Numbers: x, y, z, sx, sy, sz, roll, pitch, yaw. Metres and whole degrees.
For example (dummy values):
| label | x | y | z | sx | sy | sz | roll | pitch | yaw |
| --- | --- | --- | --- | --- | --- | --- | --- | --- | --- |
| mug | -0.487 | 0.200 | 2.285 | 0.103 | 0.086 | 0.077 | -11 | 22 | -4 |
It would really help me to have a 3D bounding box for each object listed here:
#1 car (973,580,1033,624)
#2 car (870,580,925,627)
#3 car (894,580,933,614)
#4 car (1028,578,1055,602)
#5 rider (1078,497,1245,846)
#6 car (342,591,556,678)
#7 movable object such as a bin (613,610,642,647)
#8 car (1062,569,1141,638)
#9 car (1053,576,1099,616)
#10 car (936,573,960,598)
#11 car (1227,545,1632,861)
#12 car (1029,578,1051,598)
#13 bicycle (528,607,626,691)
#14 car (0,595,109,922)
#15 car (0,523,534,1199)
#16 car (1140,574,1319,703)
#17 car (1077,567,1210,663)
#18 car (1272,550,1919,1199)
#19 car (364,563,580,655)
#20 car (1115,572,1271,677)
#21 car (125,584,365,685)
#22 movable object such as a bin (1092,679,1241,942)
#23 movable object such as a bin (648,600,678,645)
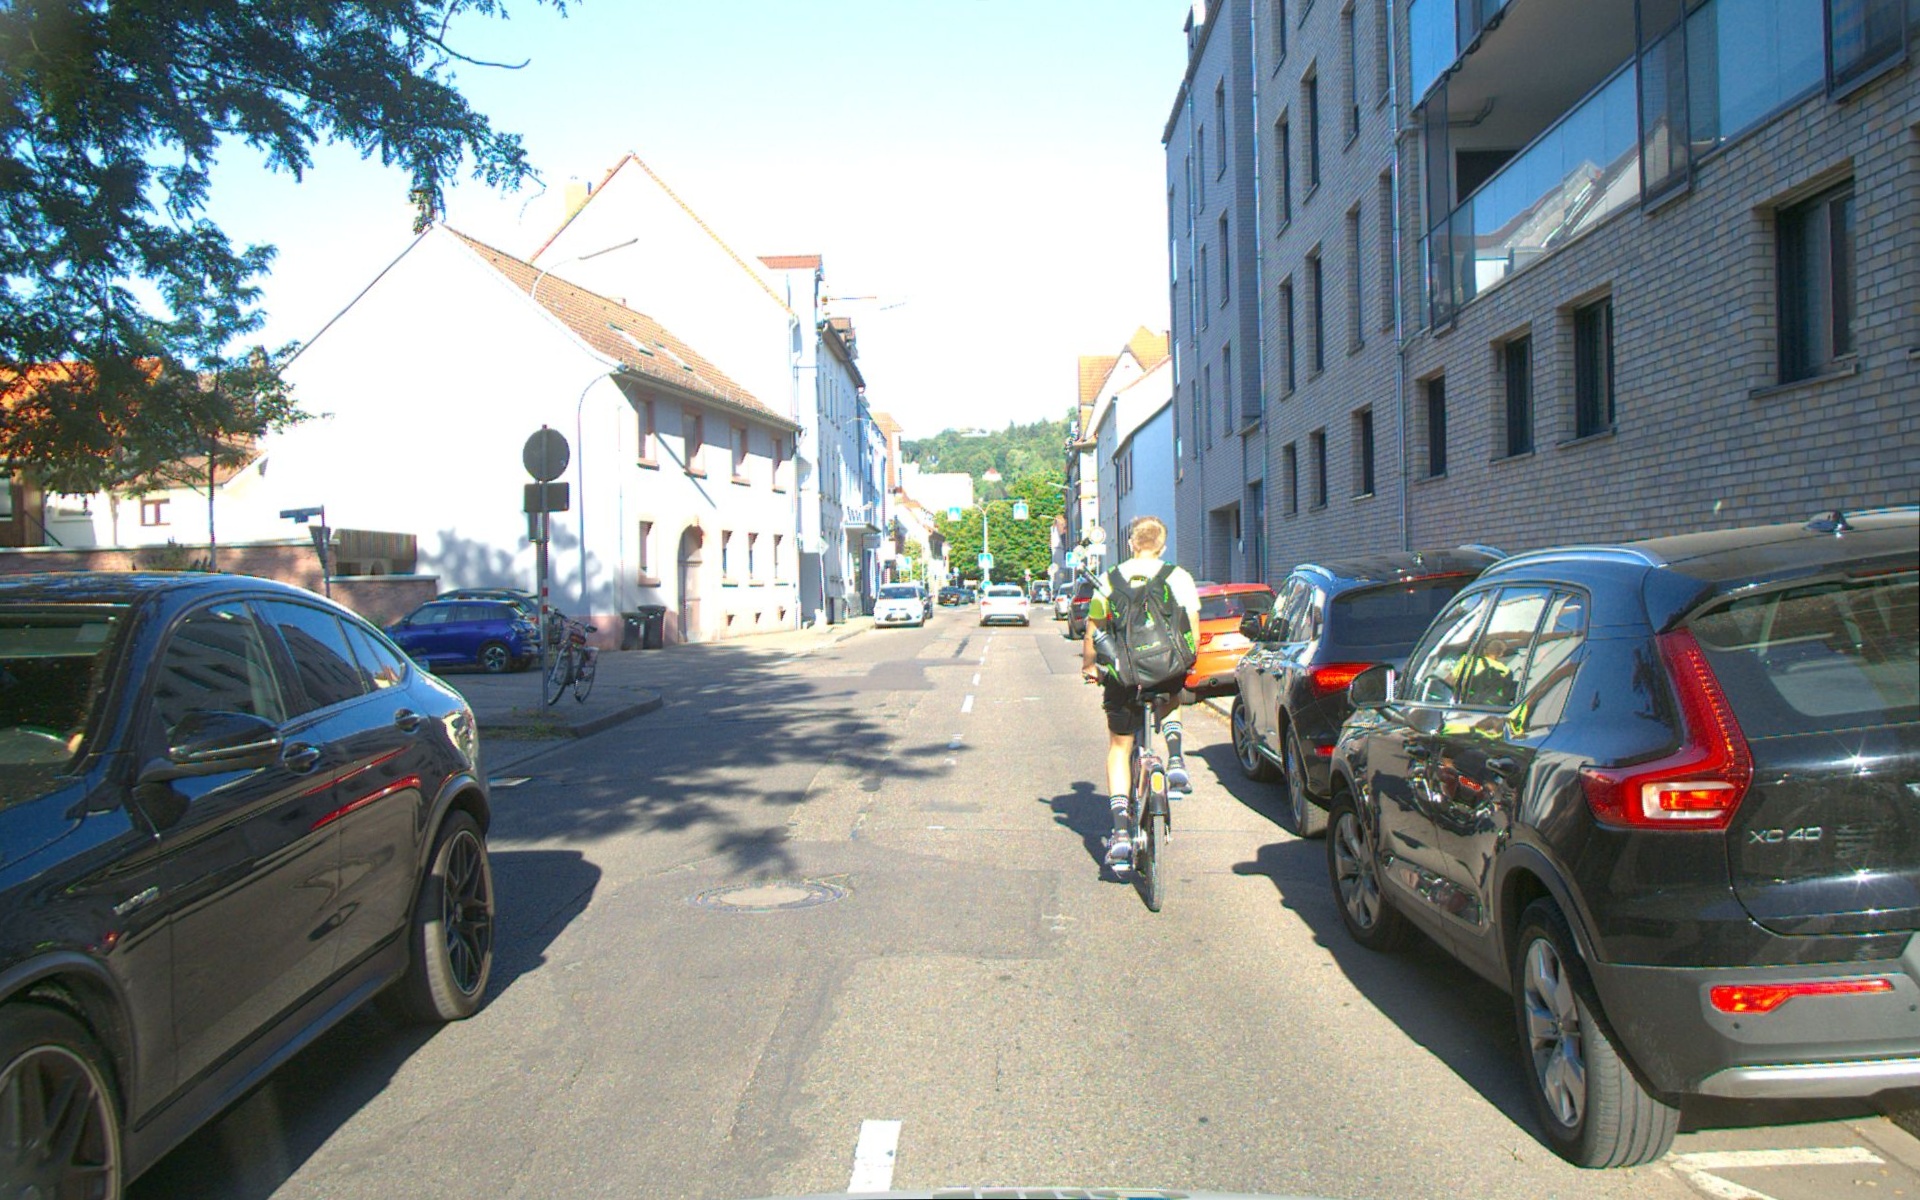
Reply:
| label | x | y | z | sx | sy | sz | roll | pitch | yaw |
| --- | --- | --- | --- | --- | --- | --- | --- | --- | --- |
| car | 1.501 | 0.057 | 58.919 | 1.953 | 1.492 | 3.999 | -2 | 0 | -1 |
| car | -2.331 | 0.077 | 62.636 | 1.953 | 1.676 | 5.220 | -1 | 1 | -1 |
| car | -2.204 | -0.148 | 79.182 | 1.695 | 1.525 | 3.959 | -2 | 0 | 0 |
| car | 6.541 | -0.855 | 133.370 | 1.969 | 1.885 | 4.001 | 0 | 1 | 0 |
| rider | 0.967 | 0.335 | 8.146 | 0.640 | 1.589 | 1.083 | 2 | -1 | -1 |
| car | -10.470 | 0.686 | 34.067 | 3.689 | 1.556 | 2.001 | -2 | 1 | 2 |
| movable object such as a bin | -8.127 | 0.700 | 40.452 | 0.586 | 0.887 | 0.606 | -1 | 0 | -1 |
| car | 3.805 | 0.045 | 45.231 | 1.816 | 1.664 | 4.624 | -4 | 1 | 2 |
| car | 4.779 | -0.199 | 68.611 | 1.705 | 1.518 | 4.440 | -3 | 0 | 2 |
| car | -0.989 | -1.267 | 139.116 | 1.953 | 2.049 | 4.000 | -1 | 1 | 0 |
| car | 3.003 | 0.530 | 11.628 | 1.850 | 1.742 | 4.777 | -1 | 1 | 5 |
| car | 6.992 | -1.070 | 144.730 | 1.780 | 1.659 | 4.003 | -2 | 1 | 4 |
| bicycle | -4.951 | 0.611 | 21.496 | 0.689 | 1.020 | 1.942 | 0 | 0 | 4 |
| car | -5.295 | 0.759 | 6.677 | 1.662 | 1.518 | 3.999 | -1 | 0 | -1 |
| car | -2.619 | 0.686 | 4.422 | 1.900 | 1.603 | 4.318 | -2 | 0 | -2 |
| car | 3.503 | 0.443 | 22.209 | 1.678 | 1.428 | 4.073 | -5 | 1 | 1 |
| car | 3.492 | 0.224 | 32.320 | 1.953 | 1.682 | 4.762 | -1 | 1 | -1 |
| car | 2.398 | 0.616 | 5.644 | 1.779 | 1.492 | 4.269 | -2 | 0 | -1 |
| car | -11.109 | 0.175 | 37.845 | 4.272 | 1.825 | 1.989 | 2 | 3 | 2 |
| car | 3.727 | 0.332 | 27.208 | 1.953 | 1.532 | 4.367 | -1 | 1 | 0 |
| car | -14.676 | 0.684 | 34.117 | 3.906 | 1.526 | 2.001 | -6 | 3 | 2 |
| movable object such as a bin | 0.962 | 0.947 | 8.020 | 0.445 | 1.051 | 1.840 | 2 | -1 | -1 |
| movable object such as a bin | -7.437 | 0.560 | 41.386 | 0.586 | 1.113 | 0.751 | 0 | 0 | 2 |
